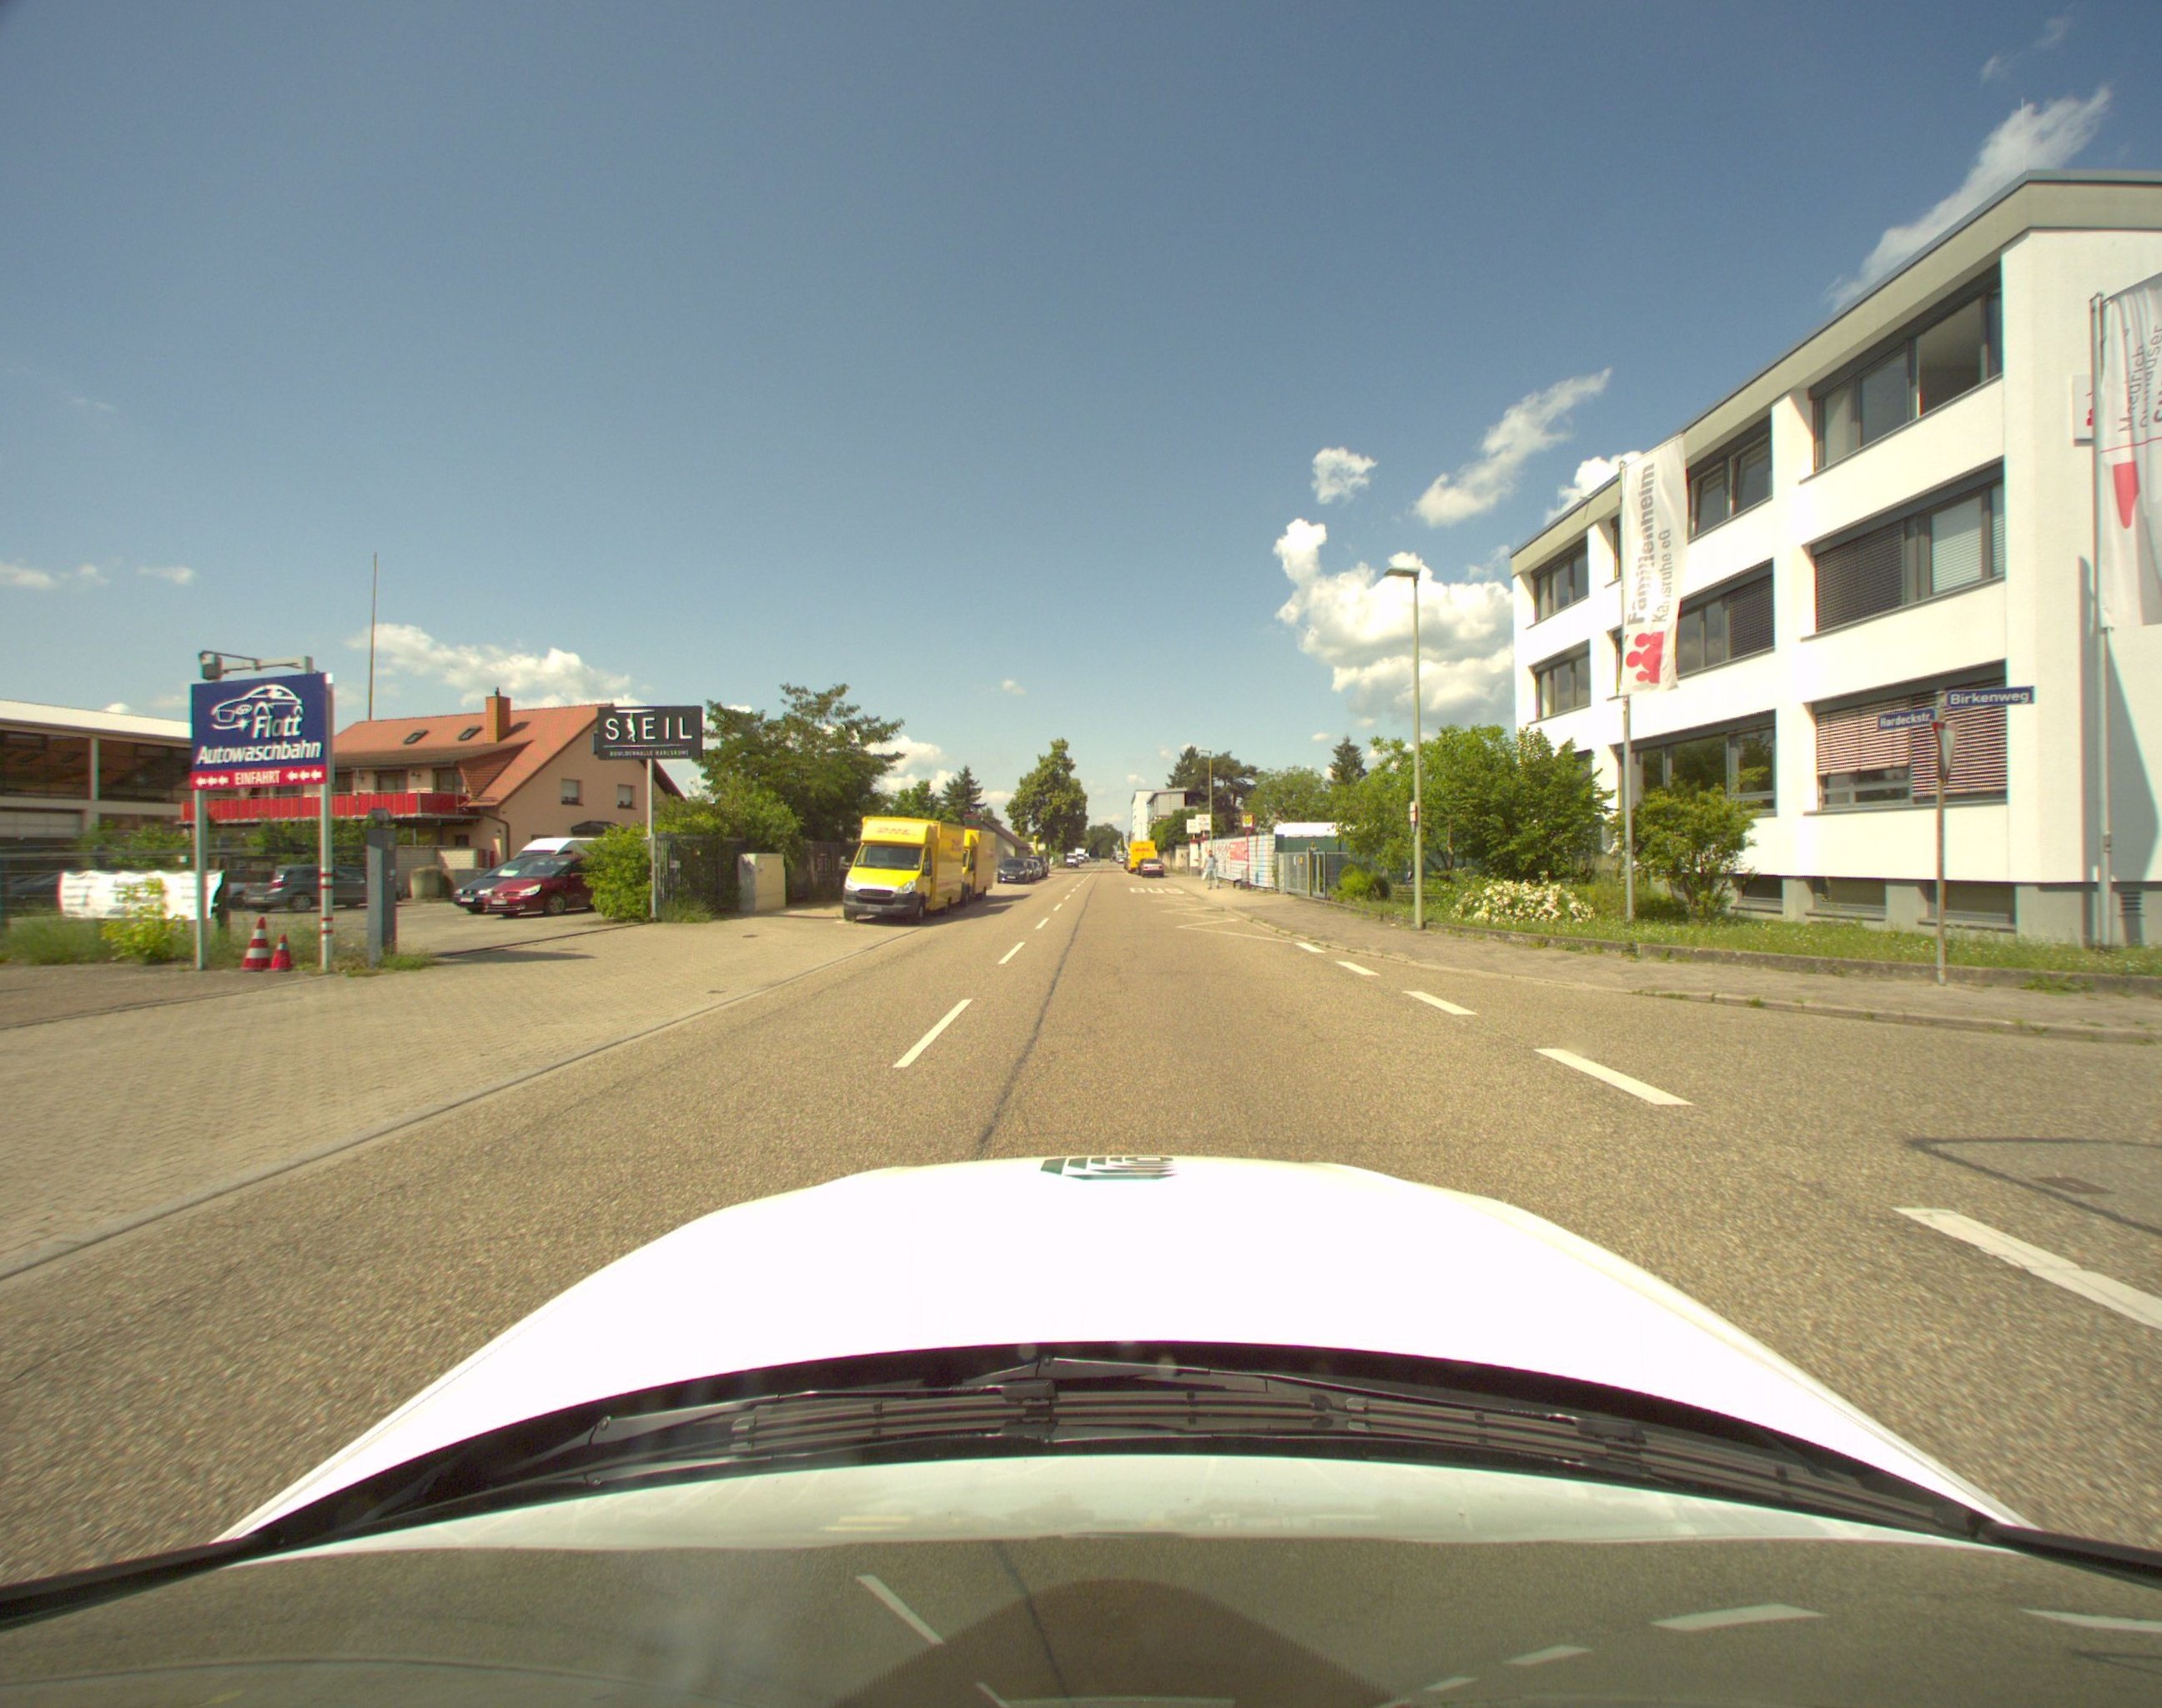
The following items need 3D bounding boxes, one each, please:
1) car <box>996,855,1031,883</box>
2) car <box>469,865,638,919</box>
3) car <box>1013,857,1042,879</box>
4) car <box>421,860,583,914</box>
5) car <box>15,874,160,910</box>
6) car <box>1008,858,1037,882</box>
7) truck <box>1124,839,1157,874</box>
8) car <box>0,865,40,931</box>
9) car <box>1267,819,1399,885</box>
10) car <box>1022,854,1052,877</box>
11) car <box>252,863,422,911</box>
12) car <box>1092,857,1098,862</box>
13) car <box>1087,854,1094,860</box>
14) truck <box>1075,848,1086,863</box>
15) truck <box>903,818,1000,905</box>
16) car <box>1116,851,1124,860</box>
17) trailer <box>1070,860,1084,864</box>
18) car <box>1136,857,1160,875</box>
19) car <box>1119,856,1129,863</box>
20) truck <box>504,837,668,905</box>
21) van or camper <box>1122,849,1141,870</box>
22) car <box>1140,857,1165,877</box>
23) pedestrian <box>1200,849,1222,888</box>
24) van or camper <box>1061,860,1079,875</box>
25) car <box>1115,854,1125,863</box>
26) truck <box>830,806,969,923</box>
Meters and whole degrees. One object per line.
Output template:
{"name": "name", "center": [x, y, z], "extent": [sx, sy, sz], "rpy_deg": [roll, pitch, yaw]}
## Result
{"name": "car", "center": [-4.167, 0.918, 51.070], "extent": [1.719, 1.604, 4.413], "rpy_deg": [3, 0, 0]}
{"name": "car", "center": [-15.402, 1.068, 24.026], "extent": [1.795, 1.305, 3.886], "rpy_deg": [-1, 1, 17]}
{"name": "car", "center": [-4.027, 1.051, 62.094], "extent": [1.727, 1.518, 4.744], "rpy_deg": [2, 0, 1]}
{"name": "car", "center": [-18.071, 0.980, 25.652], "extent": [1.752, 1.513, 3.932], "rpy_deg": [-1, 0, 14]}
{"name": "car", "center": [-37.303, 1.382, 30.670], "extent": [1.242, 1.193, 3.222], "rpy_deg": [-1, 0, 16]}
{"name": "car", "center": [-3.990, 1.074, 56.152], "extent": [1.622, 1.448, 4.027], "rpy_deg": [4, 0, 1]}
{"name": "truck", "center": [5.307, 0.236, 73.502], "extent": [2.466, 2.940, 7.189], "rpy_deg": [1, 0, 1]}
{"name": "car", "center": [-24.799, 0.942, 17.064], "extent": [3.964, 1.390, 1.863], "rpy_deg": [-1, -2, 8]}
{"name": "car", "center": [10.594, -0.076, 34.461], "extent": [4.900, 2.652, 2.069], "rpy_deg": [-1, 0, -6]}
{"name": "car", "center": [-3.628, 0.908, 67.929], "extent": [1.910, 1.822, 4.790], "rpy_deg": [0, 0, 4]}
{"name": "car", "center": [-24.563, 1.051, 27.079], "extent": [1.526, 1.428, 3.992], "rpy_deg": [-1, 0, 13]}
{"name": "car", "center": [4.134, 1.652, 233.375], "extent": [1.648, 1.324, 4.418], "rpy_deg": [-1, 0, 2]}
{"name": "car", "center": [2.652, 0.840, 219.064], "extent": [1.706, 1.650, 4.002], "rpy_deg": [-1, 0, 2]}
{"name": "truck", "center": [-0.085, 0.357, 178.486], "extent": [2.022, 3.154, 6.503], "rpy_deg": [-1, 0, 2]}
{"name": "truck", "center": [-4.767, 0.261, 31.345], "extent": [2.307, 2.862, 7.107], "rpy_deg": [2, 0, 2]}
{"name": "car", "center": [9.156, 0.328, 190.393], "extent": [1.701, 2.090, 4.001], "rpy_deg": [-1, 0, 1]}
{"name": "trailer", "center": [-0.788, 1.597, 163.985], "extent": [2.408, 0.813, 5.540], "rpy_deg": [1, 0, 2]}
{"name": "car", "center": [5.459, 0.945, 66.641], "extent": [1.656, 1.441, 4.283], "rpy_deg": [-1, 0, 0]}
{"name": "car", "center": [8.727, 1.153, 166.127], "extent": [1.921, 1.310, 4.002], "rpy_deg": [-1, 0, 2]}
{"name": "truck", "center": [-19.679, 0.619, 32.818], "extent": [2.095, 2.488, 5.744], "rpy_deg": [-1, 0, 15]}
{"name": "van or camper", "center": [5.810, 0.590, 93.790], "extent": [1.986, 2.291, 5.450], "rpy_deg": [1, 0, 2]}
{"name": "car", "center": [5.371, 0.934, 61.866], "extent": [1.645, 1.387, 4.425], "rpy_deg": [1, 0, 2]}
{"name": "pedestrian", "center": [5.793, 0.647, 36.373], "extent": [0.714, 1.697, 0.522], "rpy_deg": [-6, 0, -3]}
{"name": "van or camper", "center": [-1.800, 2.161, 133.131], "extent": [2.163, 2.413, 7.708], "rpy_deg": [-1, 0, 5]}
{"name": "car", "center": [8.630, 0.978, 179.824], "extent": [2.208, 2.013, 5.487], "rpy_deg": [-1, 0, 2]}
{"name": "truck", "center": [-4.987, 0.304, 23.752], "extent": [2.261, 2.855, 7.175], "rpy_deg": [1, -1, 1]}
